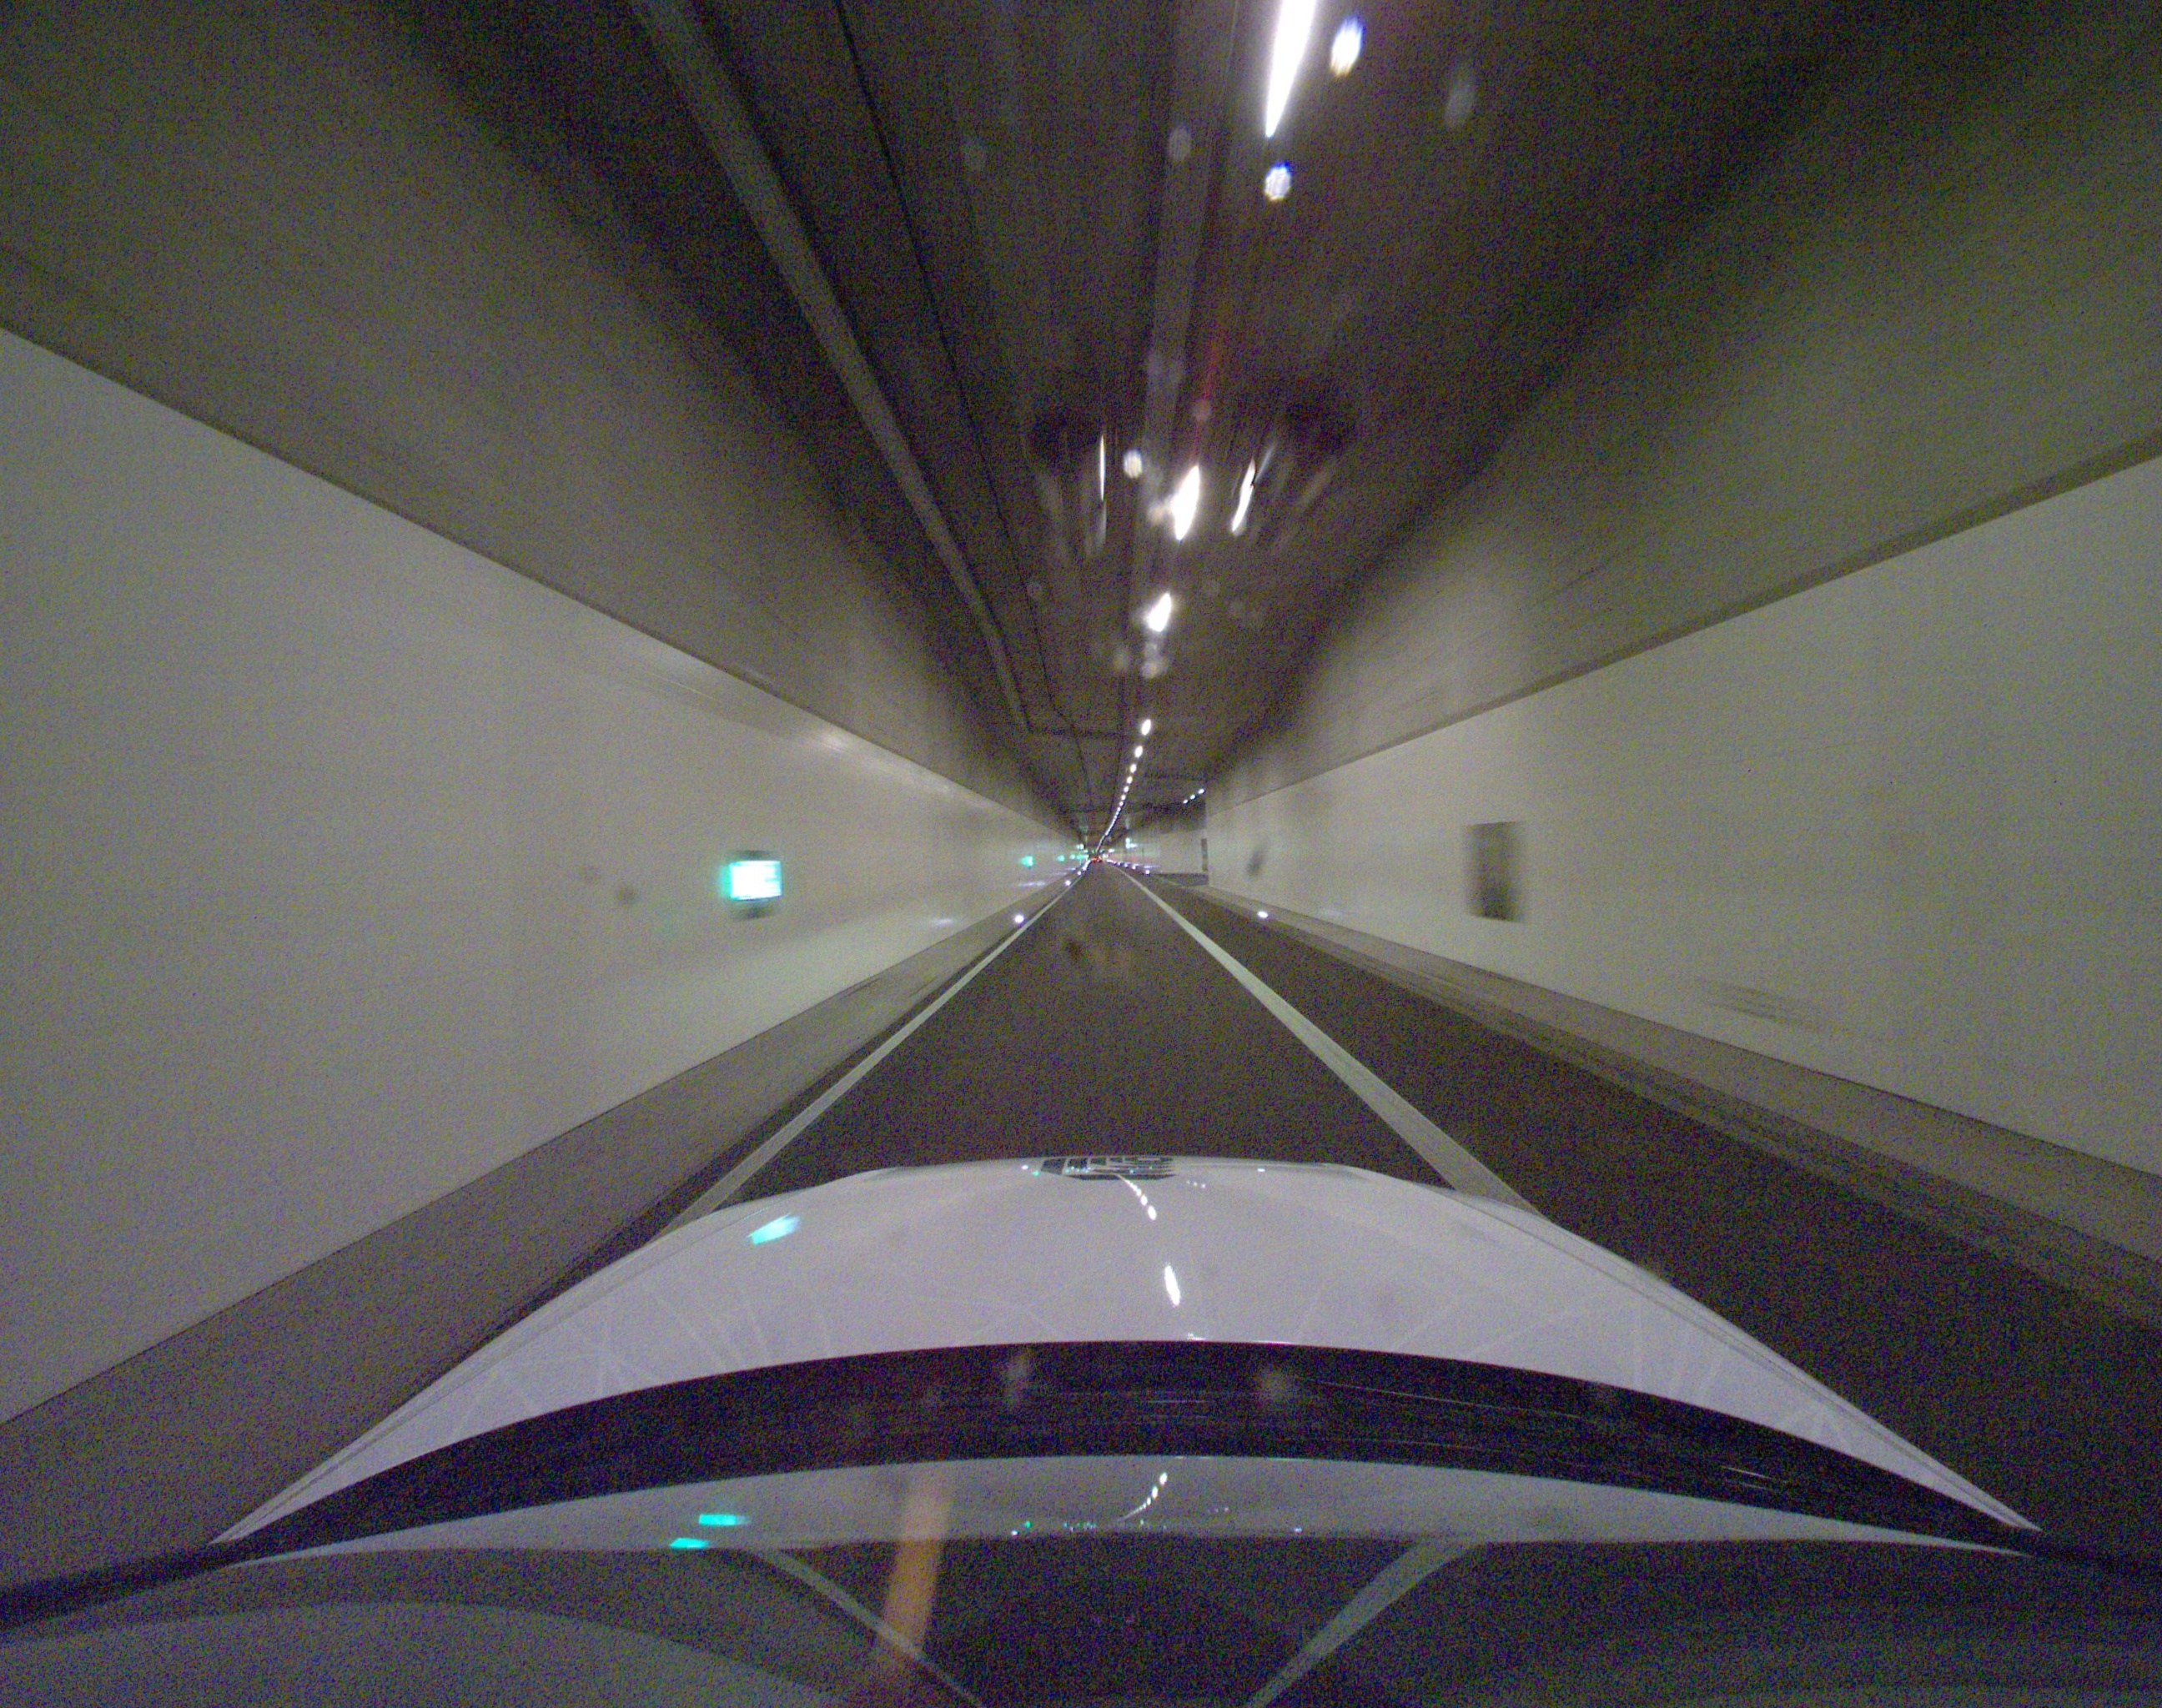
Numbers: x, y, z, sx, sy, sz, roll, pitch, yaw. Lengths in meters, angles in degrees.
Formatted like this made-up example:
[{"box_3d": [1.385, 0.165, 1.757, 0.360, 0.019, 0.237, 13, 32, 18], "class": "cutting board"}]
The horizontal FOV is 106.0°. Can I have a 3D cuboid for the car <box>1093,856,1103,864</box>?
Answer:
[{"box_3d": [3.485, 1.253, 169.475, 1.987, 1.420, 4.000, -5, 0, 0], "class": "car"}]
